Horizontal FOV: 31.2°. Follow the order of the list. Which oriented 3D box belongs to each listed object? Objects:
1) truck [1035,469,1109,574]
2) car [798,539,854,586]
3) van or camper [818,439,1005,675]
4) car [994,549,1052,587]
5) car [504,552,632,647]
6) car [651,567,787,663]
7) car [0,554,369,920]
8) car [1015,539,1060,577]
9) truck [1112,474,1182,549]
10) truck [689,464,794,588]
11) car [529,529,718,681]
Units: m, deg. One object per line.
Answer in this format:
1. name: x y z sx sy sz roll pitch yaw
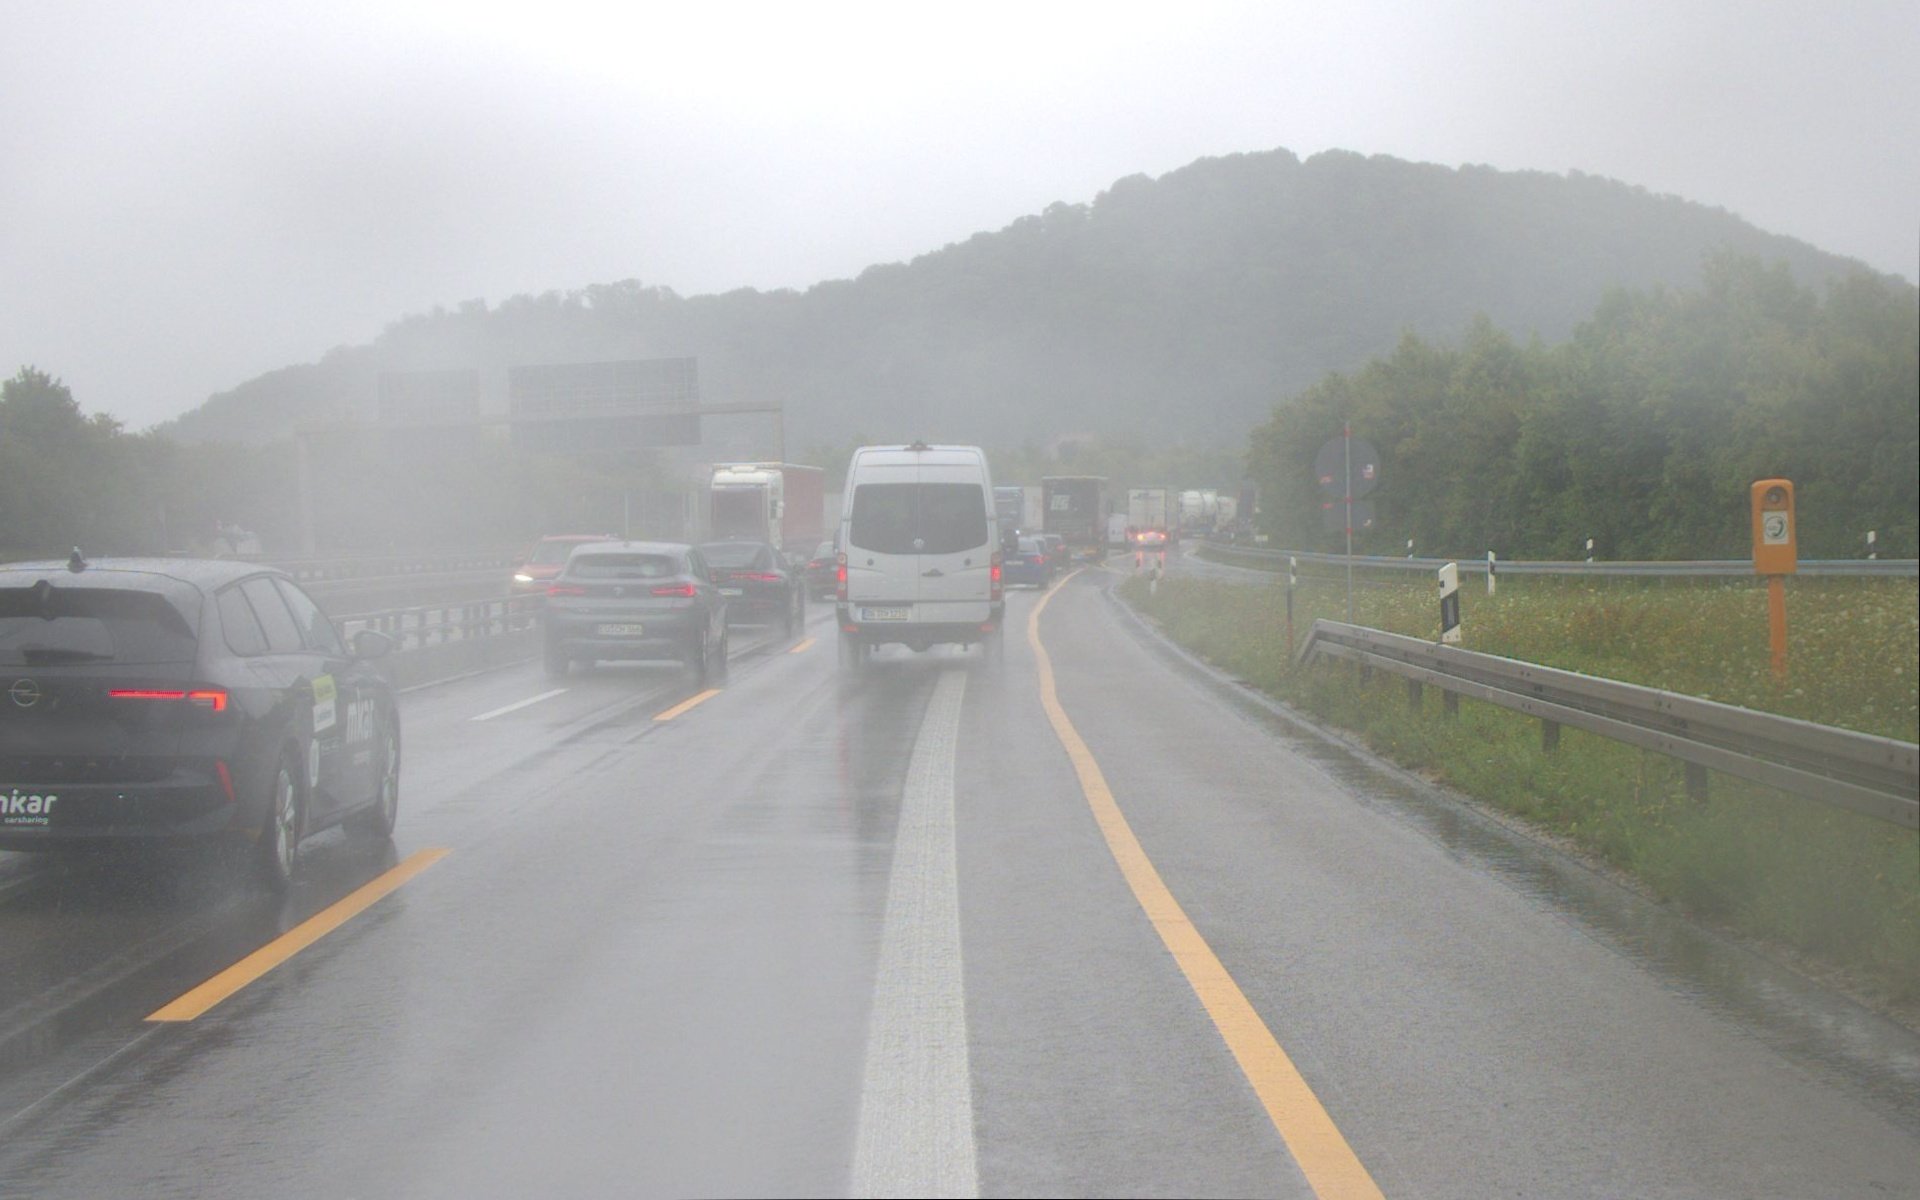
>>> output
1. truck: 5.338 -3.665 162.677 3.321 4.768 9.906 1 1 2
2. car: -3.145 -0.897 81.083 1.262 1.074 3.255 0 1 -1
3. van or camper: -0.585 -0.529 41.835 2.139 2.712 4.648 0 1 -1
4. car: 1.772 -0.915 97.995 1.384 1.074 3.123 0 1 -4
5. car: -6.903 -0.028 60.852 1.802 1.588 4.184 1 1 -1
6. car: -3.894 0.216 56.035 1.852 1.495 4.000 0 1 1
7. car: -4.043 0.511 15.913 1.938 1.422 4.761 0 1 -2
8. car: 2.611 -1.434 116.178 1.384 1.252 3.123 0 1 -2
9. truck: 12.493 -5.850 229.272 3.929 4.768 9.904 1 1 7
10. truck: -7.803 -2.630 123.607 3.008 4.257 6.800 -1 1 2
11. car: -3.817 0.024 39.562 1.867 1.653 3.988 0 1 -1
